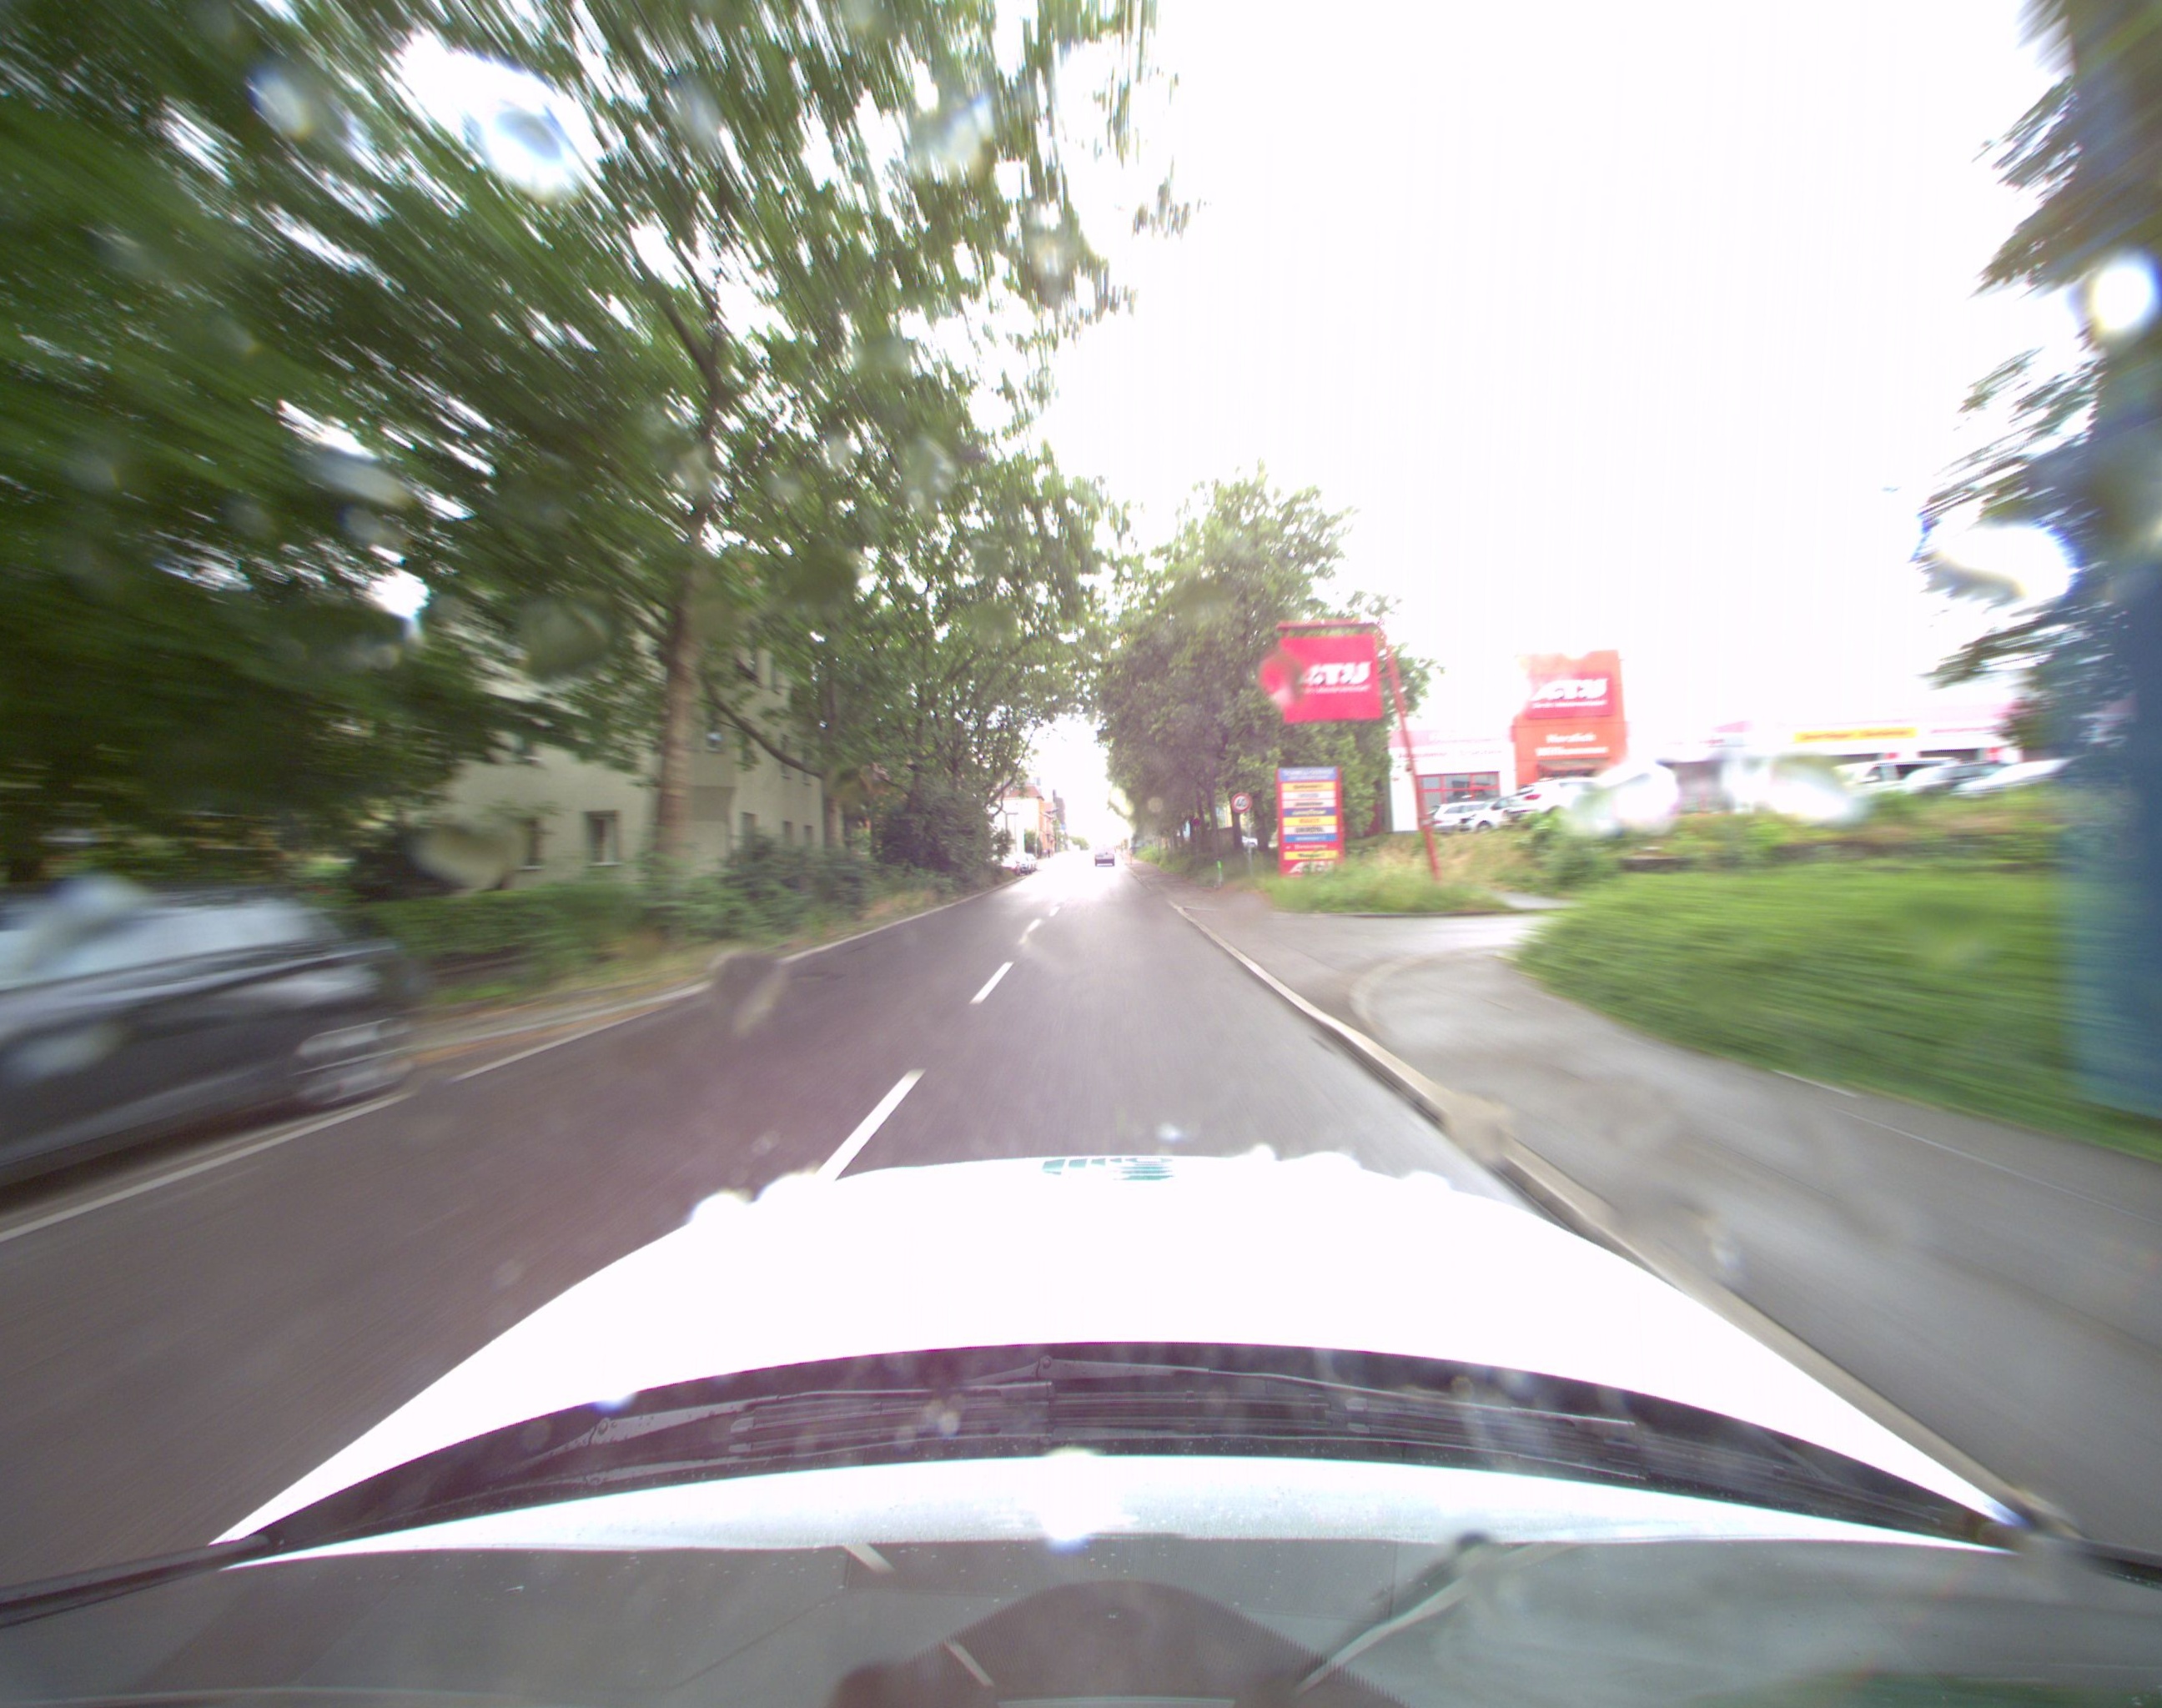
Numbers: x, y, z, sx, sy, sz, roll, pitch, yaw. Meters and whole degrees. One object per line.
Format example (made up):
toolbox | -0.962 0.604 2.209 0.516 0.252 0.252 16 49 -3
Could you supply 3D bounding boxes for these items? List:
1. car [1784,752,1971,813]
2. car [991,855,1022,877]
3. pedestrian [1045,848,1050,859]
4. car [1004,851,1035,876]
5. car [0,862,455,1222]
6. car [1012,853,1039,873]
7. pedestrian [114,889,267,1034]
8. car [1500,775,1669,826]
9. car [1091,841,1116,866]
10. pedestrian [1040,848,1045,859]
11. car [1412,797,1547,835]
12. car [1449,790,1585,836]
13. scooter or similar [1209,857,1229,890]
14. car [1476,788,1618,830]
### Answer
car | 27.749 -2.473 28.479 4.757 1.783 1.914 -2 0 -3
car | -4.838 0.748 53.049 1.633 1.373 3.758 -2 0 0
pedestrian | -6.055 -0.132 146.187 0.668 2.013 0.943 -2 0 6
car | -4.372 0.657 58.447 1.684 1.542 4.119 -5 1 2
car | -5.531 0.901 3.979 1.642 1.538 4.019 -6 0 1
car | -4.366 0.684 64.555 1.737 1.482 4.387 -1 0 2
pedestrian | -10.495 1.225 9.646 0.584 1.620 1.022 0 -2 3
car | 15.670 -1.641 25.522 4.083 1.376 1.905 -1 0 3
car | 2.237 -0.009 81.532 2.327 2.231 4.002 -3 -1 2
pedestrian | -6.949 -0.113 146.667 0.668 2.013 0.943 -2 0 6
car | 16.111 -1.513 33.059 4.593 1.334 1.801 -2 0 1
car | 16.419 -1.532 30.832 4.084 1.466 1.886 -2 0 2
scooter or similar | 4.900 0.688 28.949 0.424 1.142 1.528 0 -2 0
car | 16.137 -1.546 28.357 3.902 1.293 1.834 -1 0 3
